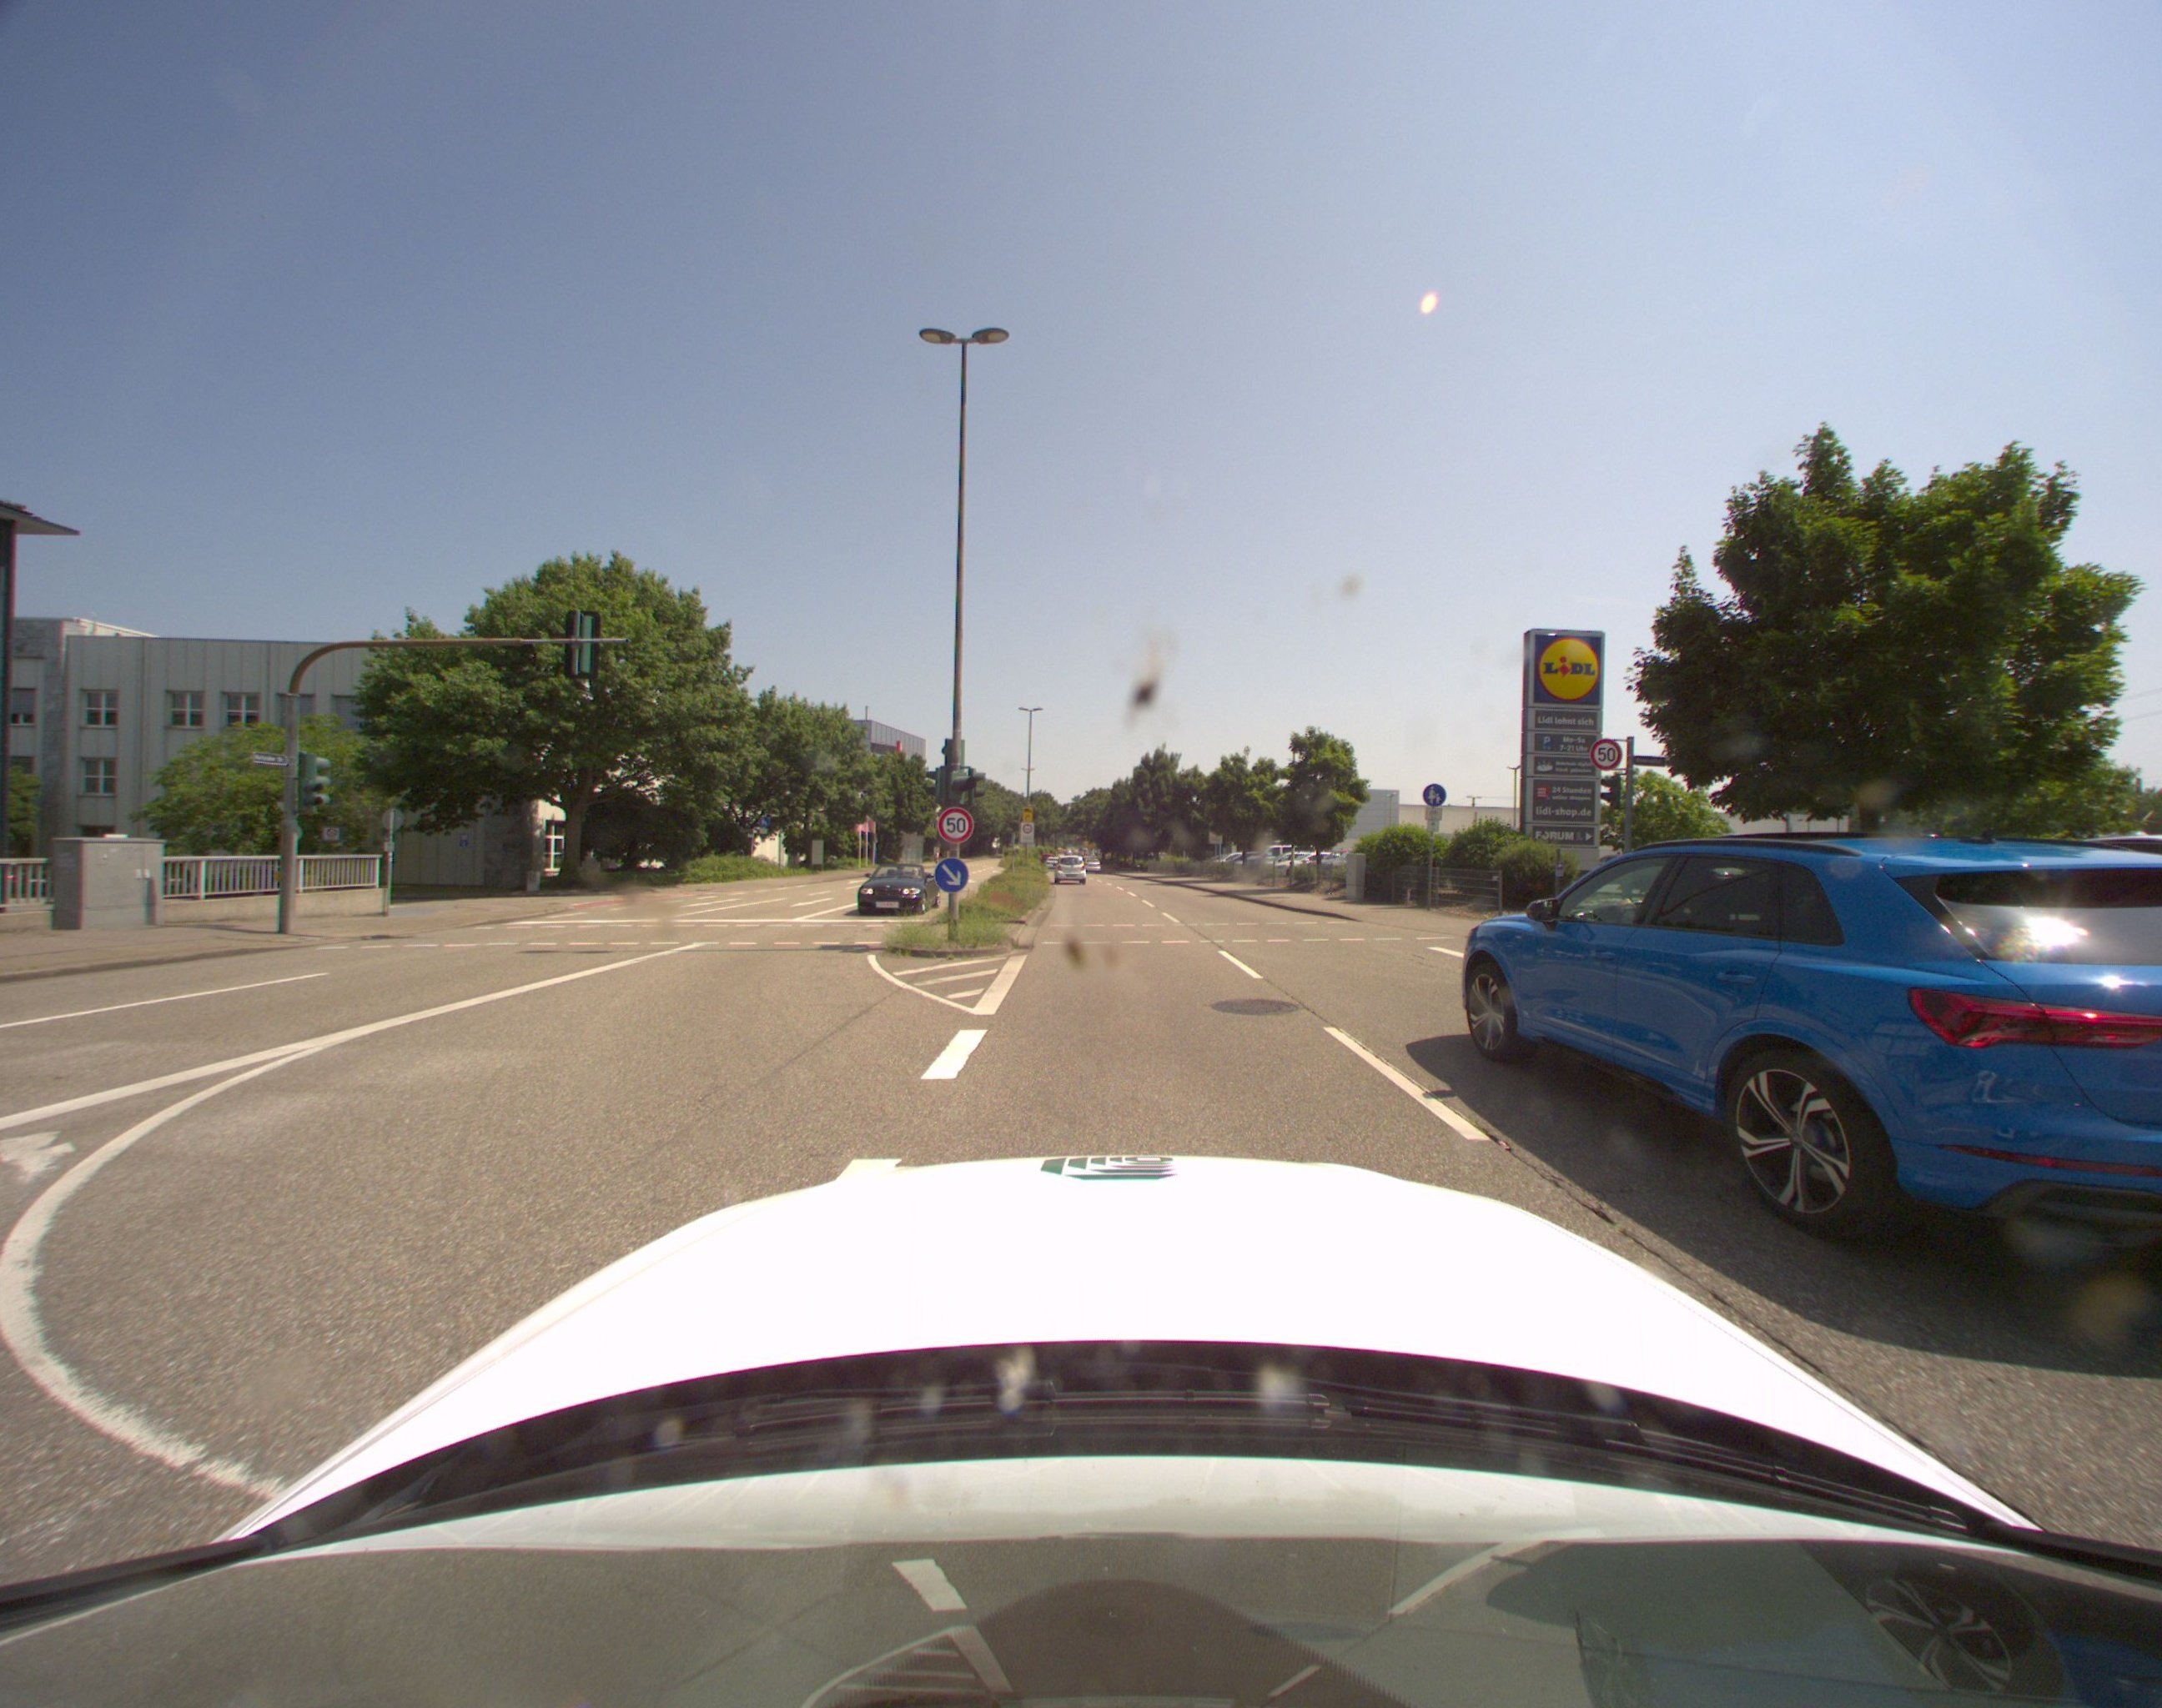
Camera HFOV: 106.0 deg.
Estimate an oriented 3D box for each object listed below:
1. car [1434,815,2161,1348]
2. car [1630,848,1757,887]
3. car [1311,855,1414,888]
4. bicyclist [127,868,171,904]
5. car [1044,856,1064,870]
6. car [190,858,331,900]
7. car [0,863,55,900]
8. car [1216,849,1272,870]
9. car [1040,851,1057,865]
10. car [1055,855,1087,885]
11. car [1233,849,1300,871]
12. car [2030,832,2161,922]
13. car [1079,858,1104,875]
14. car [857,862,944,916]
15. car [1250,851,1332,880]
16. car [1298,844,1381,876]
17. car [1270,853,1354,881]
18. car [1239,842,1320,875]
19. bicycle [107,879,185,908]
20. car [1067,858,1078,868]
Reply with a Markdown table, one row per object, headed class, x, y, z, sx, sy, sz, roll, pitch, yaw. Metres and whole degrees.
| class | x | y | z | sx | sy | sz | roll | pitch | yaw |
| --- | --- | --- | --- | --- | --- | --- | --- | --- | --- |
| car | 3.764 | 0.668 | 4.597 | 1.801 | 1.593 | 4.352 | -1 | 0 | 2 |
| car | 23.610 | 0.519 | 31.602 | 1.731 | 1.394 | 4.076 | 0 | -1 | -3 |
| car | 12.990 | 0.784 | 37.702 | 4.158 | 1.421 | 1.697 | 1 | 0 | -1 |
| bicyclist | -37.158 | 1.256 | 32.480 | 0.854 | 1.410 | 0.745 | -1 | 0 | 0 |
| car | -2.811 | 0.963 | 84.435 | 1.881 | 1.354 | 3.993 | 2 | 0 | -5 |
| car | -35.007 | 1.039 | 34.837 | 3.975 | 1.596 | 1.919 | 2 | 0 | -1 |
| car | -46.827 | 1.171 | 34.815 | 3.641 | 1.530 | 1.715 | -1 | 0 | -2 |
| car | 12.898 | 0.435 | 64.559 | 3.983 | 1.596 | 1.822 | 2 | 0 | -7 |
| car | -4.036 | 0.524 | 99.428 | 1.881 | 1.608 | 3.994 | 2 | 0 | -4 |
| car | -0.576 | 0.869 | 44.851 | 1.634 | 1.552 | 3.322 | 2 | 0 | -3 |
| car | 12.268 | 0.402 | 54.034 | 3.977 | 1.389 | 1.825 | 1 | 0 | -3 |
| car | 18.311 | 0.371 | 13.293 | 1.416 | 1.438 | 3.530 | -2 | 1 | -3 |
| car | 0.934 | 1.173 | 76.208 | 1.863 | 1.473 | 3.992 | 2 | 0 | -6 |
| car | -4.932 | 0.905 | 22.793 | 1.725 | 1.323 | 4.144 | 0 | 0 | -3 |
| car | 12.394 | 0.681 | 48.145 | 4.354 | 1.593 | 1.826 | 1 | 0 | -1 |
| car | 12.927 | 0.298 | 40.810 | 3.585 | 1.537 | 1.719 | 1 | 0 | -7 |
| car | 12.316 | 0.686 | 43.546 | 3.987 | 1.421 | 1.696 | 1 | 0 | -4 |
| car | 12.393 | 0.279 | 51.075 | 4.606 | 1.924 | 1.825 | 1 | 0 | -3 |
| bicycle | -37.272 | 1.565 | 32.475 | 2.167 | 1.113 | 0.783 | 0 | -1 | 0 |
| car | -1.187 | 1.178 | 112.470 | 1.438 | 1.348 | 3.455 | 0 | 0 | -4 |
